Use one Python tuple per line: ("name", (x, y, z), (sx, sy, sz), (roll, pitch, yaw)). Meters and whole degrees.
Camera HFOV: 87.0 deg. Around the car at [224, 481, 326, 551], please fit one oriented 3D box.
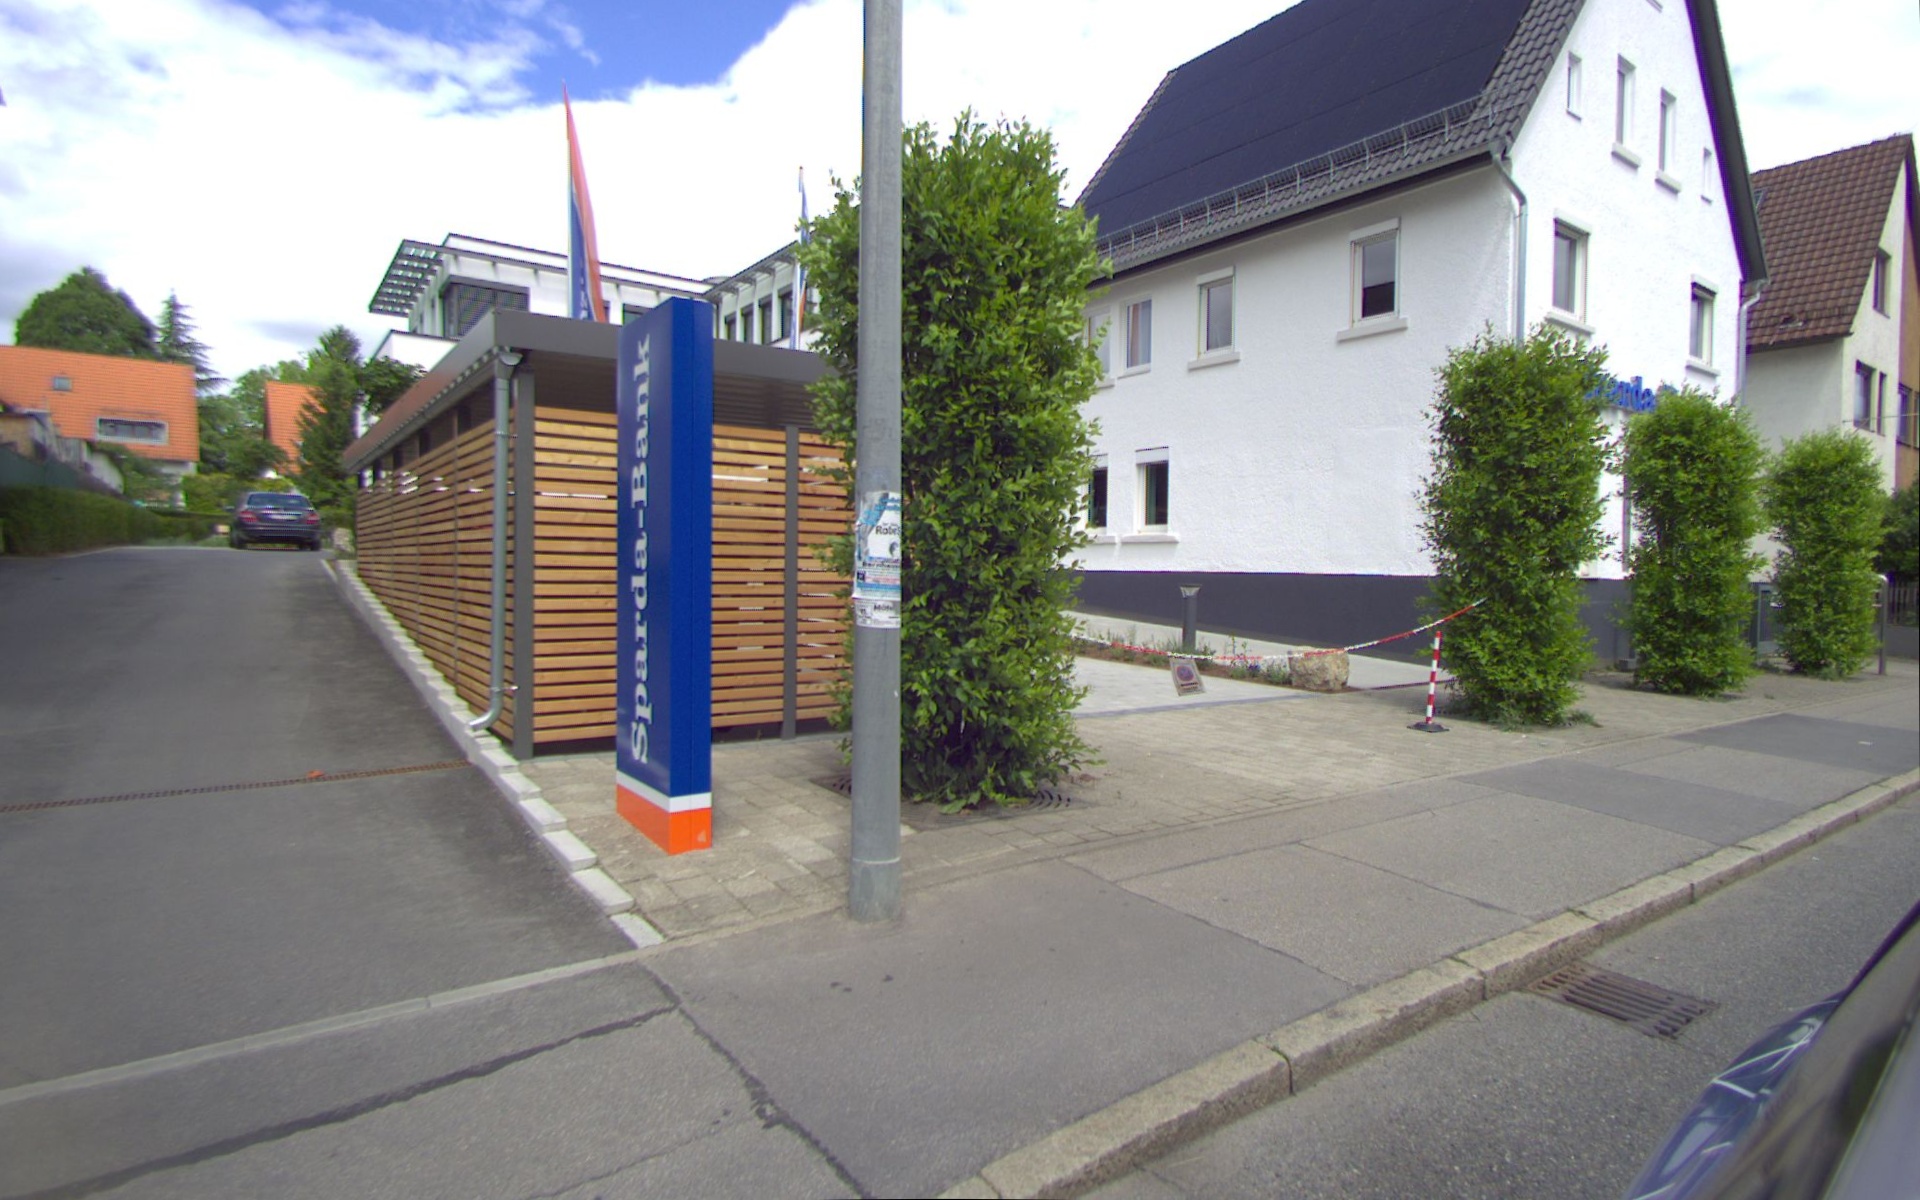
("car", (-17.198, -2.034, 25.333), (1.820, 1.492, 3.996), (-1, 1, -39))
